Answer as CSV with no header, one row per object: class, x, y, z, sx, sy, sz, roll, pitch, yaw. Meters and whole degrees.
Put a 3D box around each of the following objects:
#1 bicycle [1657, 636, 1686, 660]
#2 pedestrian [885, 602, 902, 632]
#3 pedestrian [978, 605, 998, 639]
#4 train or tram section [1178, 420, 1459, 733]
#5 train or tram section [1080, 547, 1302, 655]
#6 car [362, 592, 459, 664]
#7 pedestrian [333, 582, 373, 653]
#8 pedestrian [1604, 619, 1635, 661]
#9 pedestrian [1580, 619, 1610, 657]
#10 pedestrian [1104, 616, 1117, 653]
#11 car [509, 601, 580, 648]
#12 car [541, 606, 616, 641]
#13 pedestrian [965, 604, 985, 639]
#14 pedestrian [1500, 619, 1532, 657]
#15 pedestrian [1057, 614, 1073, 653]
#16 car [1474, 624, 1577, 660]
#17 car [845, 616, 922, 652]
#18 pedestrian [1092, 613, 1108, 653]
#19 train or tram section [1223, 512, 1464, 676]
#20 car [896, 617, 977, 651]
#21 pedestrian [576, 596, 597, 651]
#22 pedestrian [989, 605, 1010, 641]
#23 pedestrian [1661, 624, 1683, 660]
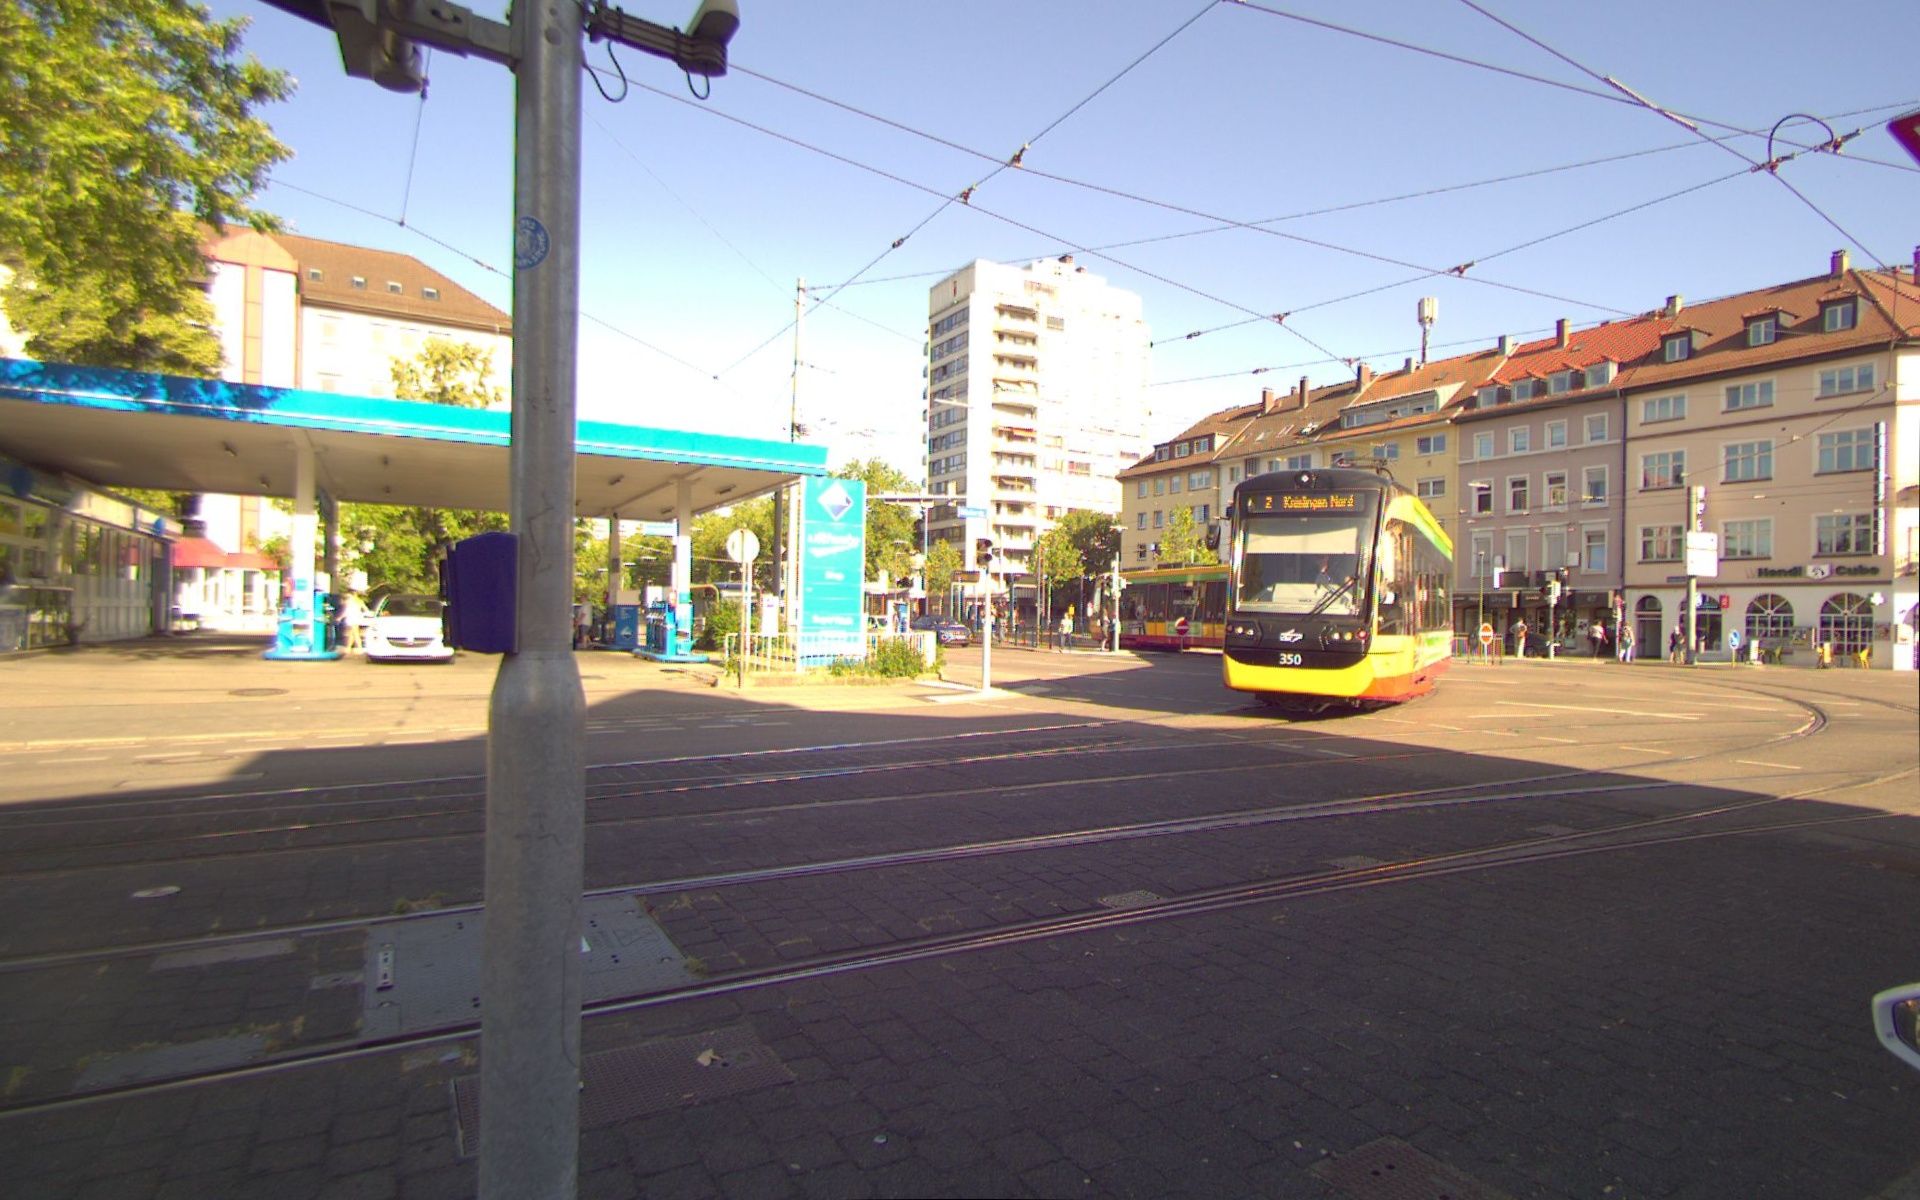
bicycle,34.073,2.307,48.086,1.479,1.091,0.570,2,0,-30
pedestrian,-3.959,0.983,59.638,0.747,1.756,0.797,0,0,-28
pedestrian,1.416,1.118,51.691,0.747,1.756,0.797,0,0,-28
train or tram section,7.415,-0.161,18.801,2.888,3.864,13.032,0,-1,29
train or tram section,9.057,0.122,41.838,2.897,3.864,12.064,1,-1,-20
car,-12.210,0.599,22.350,1.737,1.461,3.543,1,-1,-29
pedestrian,-14.879,0.431,24.618,0.491,1.724,0.648,0,-1,25
pedestrian,25.918,1.580,39.505,0.817,1.598,0.552,2,0,-2
pedestrian,27.276,1.640,43.133,0.821,1.598,0.724,2,0,-20
pedestrian,6.142,1.402,40.964,0.472,1.525,0.462,0,0,6
car,-13.560,0.779,32.676,1.737,1.461,3.543,1,-1,-29
car,-16.872,1.036,44.601,1.722,1.461,3.572,1,-1,5
pedestrian,0.781,1.097,51.466,0.747,1.756,0.797,0,0,-28
pedestrian,24.427,1.668,44.127,0.821,1.598,0.847,2,0,-20
pedestrian,4.275,1.353,40.907,0.602,1.598,0.834,0,0,5
car,30.815,2.290,54.841,2.277,1.734,4.350,2,0,-27
car,-3.598,1.548,46.736,1.871,1.550,3.963,1,-1,-33
pedestrian,5.845,1.389,41.963,0.626,1.666,0.462,0,0,6
train or tram section,10.827,-0.039,30.370,2.883,3.864,12.826,1,-1,3
car,-1.171,1.612,48.366,1.875,1.550,3.955,1,-2,-39
pedestrian,-11.802,0.747,31.738,0.495,1.724,0.495,1,-1,-37
pedestrian,1.959,1.123,49.511,0.747,1.756,0.797,0,0,-28
pedestrian,34.099,2.014,48.096,0.743,1.692,0.579,2,0,-30
